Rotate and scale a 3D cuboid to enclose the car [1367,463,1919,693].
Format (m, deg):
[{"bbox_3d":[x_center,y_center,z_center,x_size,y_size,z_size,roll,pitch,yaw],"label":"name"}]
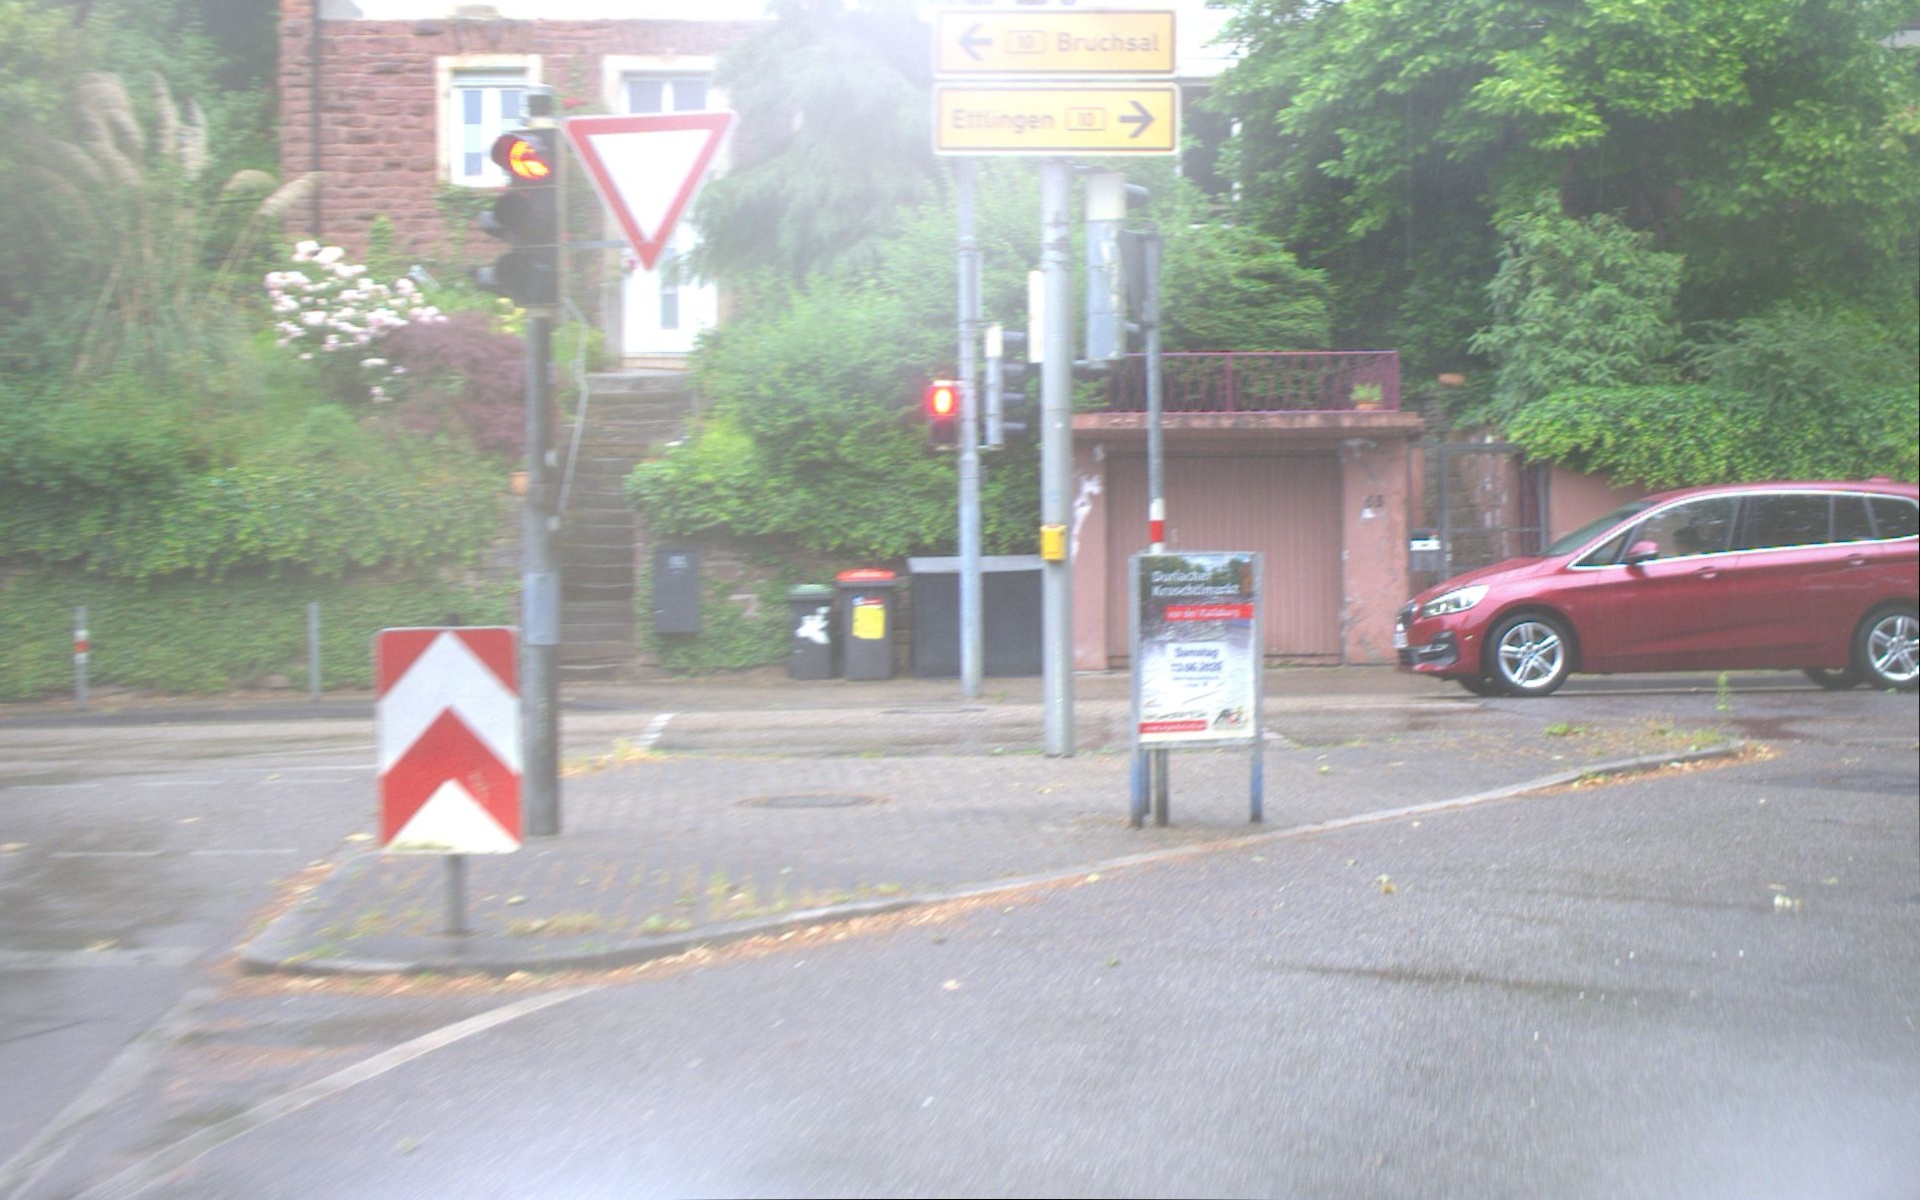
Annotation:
[{"bbox_3d":[5.546,-0.170,26.305,4.567,1.595,1.775,-2,0,-2],"label":"car"}]
